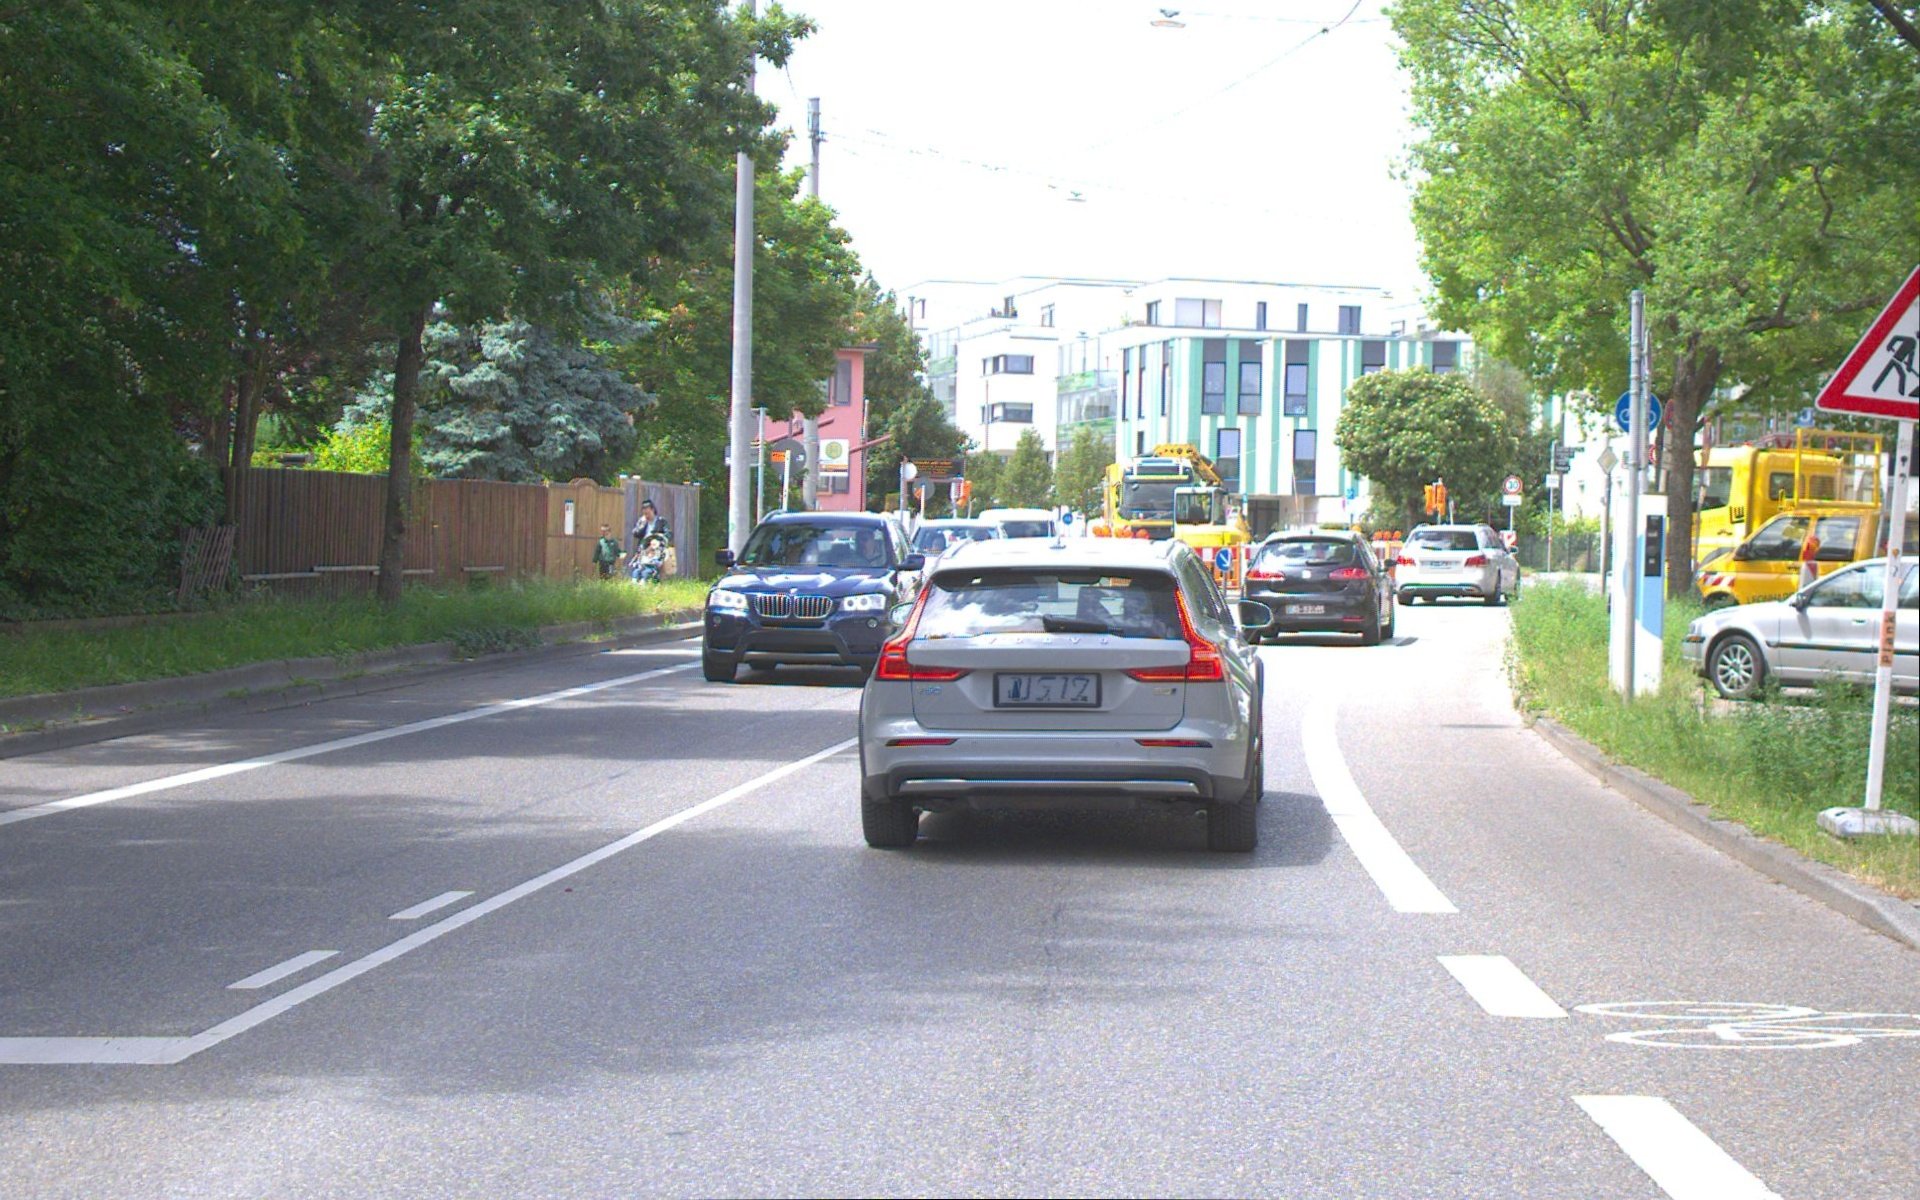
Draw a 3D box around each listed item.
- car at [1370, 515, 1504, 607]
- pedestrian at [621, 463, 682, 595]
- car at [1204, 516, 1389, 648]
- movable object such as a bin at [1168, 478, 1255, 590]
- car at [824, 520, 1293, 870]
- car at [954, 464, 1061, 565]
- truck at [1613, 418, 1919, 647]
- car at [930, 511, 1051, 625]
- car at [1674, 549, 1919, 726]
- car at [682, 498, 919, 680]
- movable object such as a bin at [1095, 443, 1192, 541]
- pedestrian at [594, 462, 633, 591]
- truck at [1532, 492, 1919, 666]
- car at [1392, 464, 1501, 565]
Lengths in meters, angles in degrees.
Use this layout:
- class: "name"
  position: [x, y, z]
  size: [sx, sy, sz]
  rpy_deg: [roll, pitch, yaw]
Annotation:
- class: "car"
  position: [8.808, -0.698, 63.740]
  size: [2.102, 1.505, 3.999]
  rpy_deg: [4, 0, 4]
- class: "pedestrian"
  position: [-4.849, -1.111, 54.049]
  size: [0.715, 2.007, 0.771]
  rpy_deg: [4, 0, 3]
- class: "car"
  position: [4.270, -0.234, 44.102]
  size: [1.661, 1.503, 3.703]
  rpy_deg: [4, 0, -4]
- class: "movable object such as a bin"
  position: [6.297, -1.656, 85.752]
  size: [2.035, 2.634, 5.939]
  rpy_deg: [1, 1, 5]
- class: "car"
  position: [0.618, 0.385, 17.160]
  size: [1.928, 1.535, 3.999]
  rpy_deg: [0, 1, 8]
- class: "car"
  position: [0.971, -1.758, 72.372]
  size: [1.848, 1.869, 4.594]
  rpy_deg: [6, 0, -2]
- class: "truck"
  position: [12.714, -0.892, 47.795]
  size: [2.762, 2.998, 6.705]
  rpy_deg: [4, 0, -40]
- class: "car"
  position: [0.496, -0.462, 51.836]
  size: [1.708, 1.612, 4.000]
  rpy_deg: [1, 0, 2]
- class: "car"
  position: [8.853, 0.373, 30.867]
  size: [1.763, 1.446, 4.688]
  rpy_deg: [1, 2, -38]
- class: "car"
  position: [-1.504, -0.136, 33.985]
  size: [1.880, 1.681, 4.247]
  rpy_deg: [0, 1, 4]
- class: "movable object such as a bin"
  position: [5.784, -3.421, 109.249]
  size: [2.310, 2.980, 6.428]
  rpy_deg: [1, 1, -3]
- class: "pedestrian"
  position: [-5.493, -1.166, 54.552]
  size: [0.402, 2.007, 0.414]
  rpy_deg: [4, 0, 7]
- class: "truck"
  position: [10.576, -0.289, 45.878]
  size: [1.994, 2.007, 5.675]
  rpy_deg: [4, 0, -43]
- class: "car"
  position: [10.965, -1.891, 77.290]
  size: [1.995, 2.007, 3.998]
  rpy_deg: [4, 0, 12]
